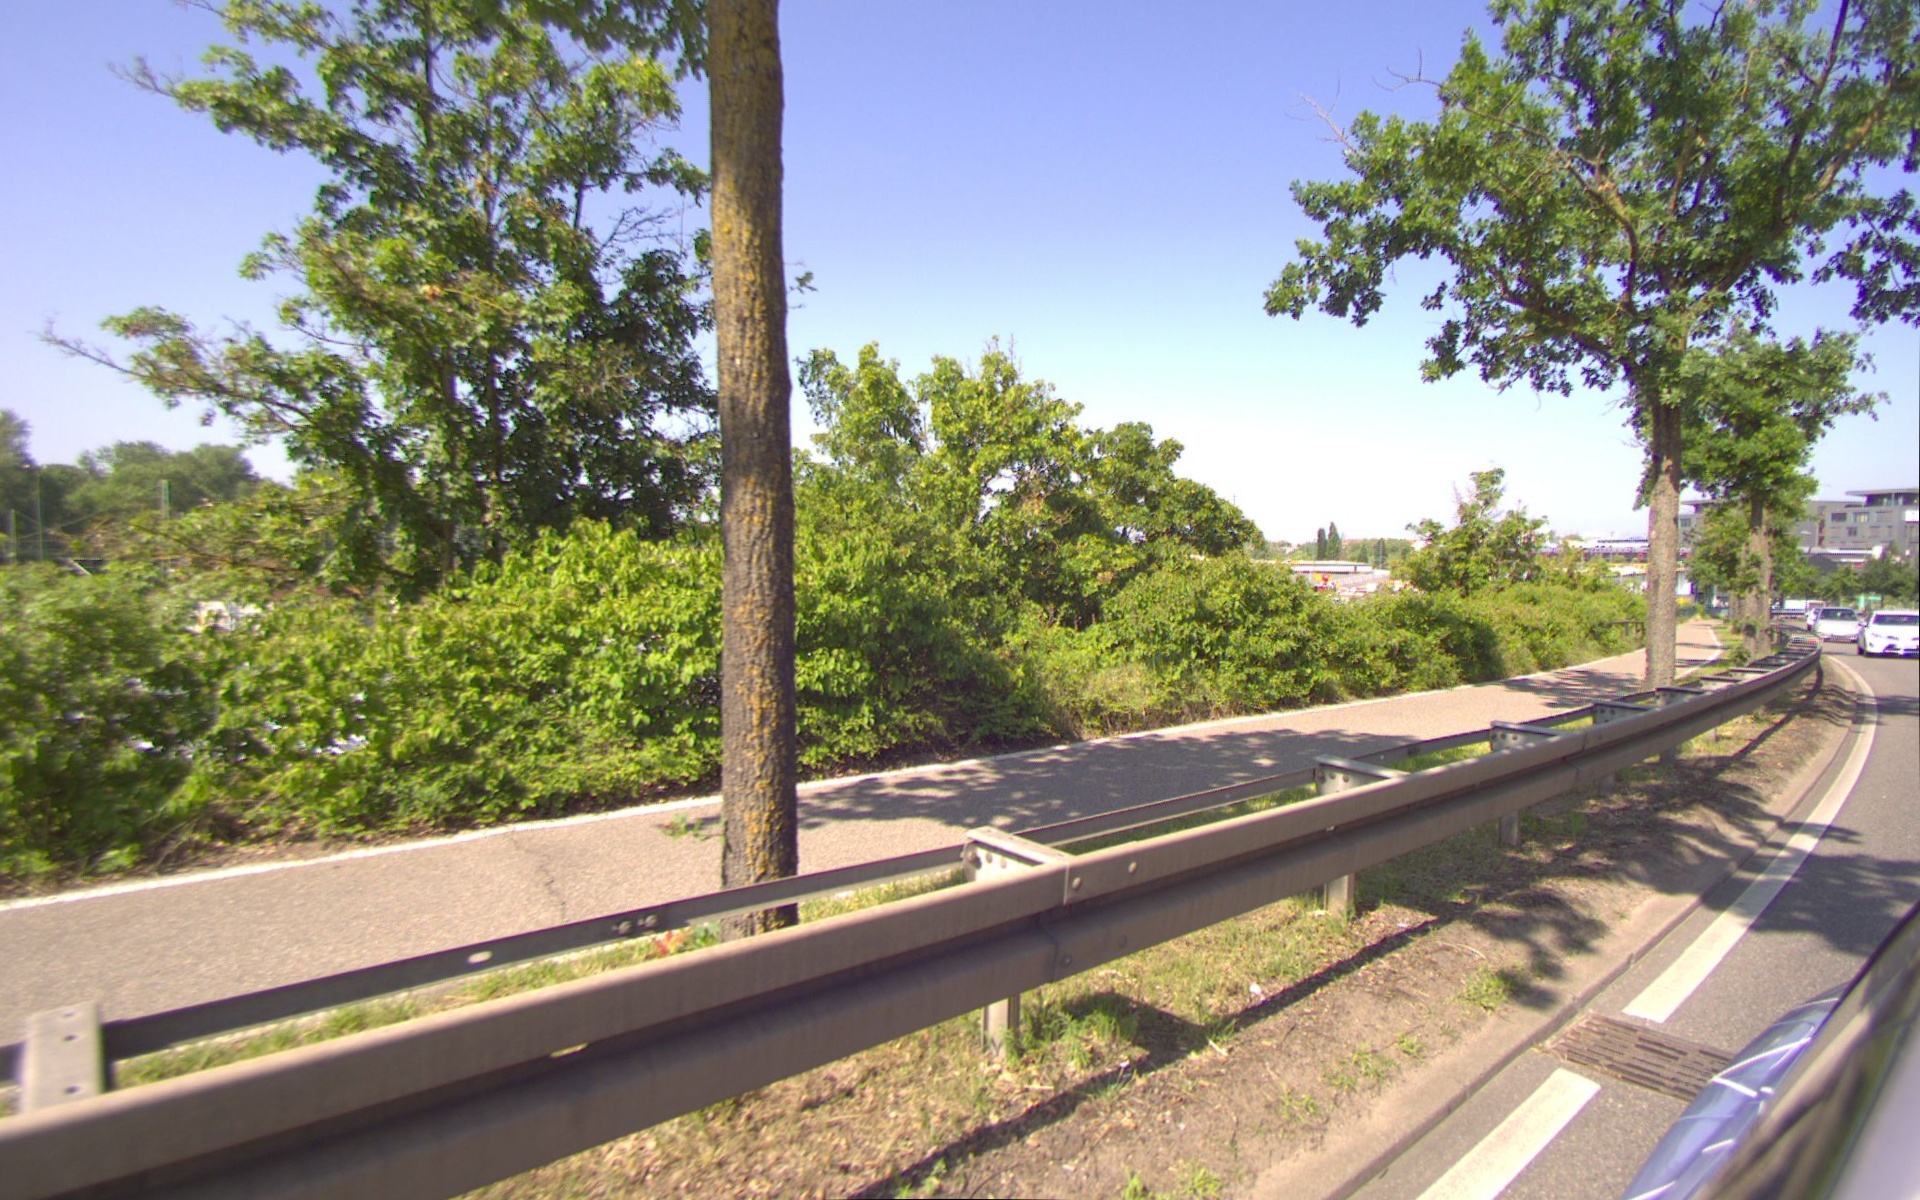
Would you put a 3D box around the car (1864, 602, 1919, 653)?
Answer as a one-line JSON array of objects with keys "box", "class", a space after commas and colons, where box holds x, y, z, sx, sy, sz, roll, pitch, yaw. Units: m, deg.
[{"box": [29.675, 0.814, 31.678, 1.838, 1.507, 4.093, 1, 0, 39], "class": "car"}]

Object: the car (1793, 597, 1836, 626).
[{"box": [56.737, 0.744, 67.220, 1.989, 1.790, 3.945, -1, 0, 38], "class": "car"}]

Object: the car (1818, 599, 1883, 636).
[{"box": [40.560, 0.765, 46.175, 1.989, 1.605, 3.945, 1, 0, 38], "class": "car"}]
